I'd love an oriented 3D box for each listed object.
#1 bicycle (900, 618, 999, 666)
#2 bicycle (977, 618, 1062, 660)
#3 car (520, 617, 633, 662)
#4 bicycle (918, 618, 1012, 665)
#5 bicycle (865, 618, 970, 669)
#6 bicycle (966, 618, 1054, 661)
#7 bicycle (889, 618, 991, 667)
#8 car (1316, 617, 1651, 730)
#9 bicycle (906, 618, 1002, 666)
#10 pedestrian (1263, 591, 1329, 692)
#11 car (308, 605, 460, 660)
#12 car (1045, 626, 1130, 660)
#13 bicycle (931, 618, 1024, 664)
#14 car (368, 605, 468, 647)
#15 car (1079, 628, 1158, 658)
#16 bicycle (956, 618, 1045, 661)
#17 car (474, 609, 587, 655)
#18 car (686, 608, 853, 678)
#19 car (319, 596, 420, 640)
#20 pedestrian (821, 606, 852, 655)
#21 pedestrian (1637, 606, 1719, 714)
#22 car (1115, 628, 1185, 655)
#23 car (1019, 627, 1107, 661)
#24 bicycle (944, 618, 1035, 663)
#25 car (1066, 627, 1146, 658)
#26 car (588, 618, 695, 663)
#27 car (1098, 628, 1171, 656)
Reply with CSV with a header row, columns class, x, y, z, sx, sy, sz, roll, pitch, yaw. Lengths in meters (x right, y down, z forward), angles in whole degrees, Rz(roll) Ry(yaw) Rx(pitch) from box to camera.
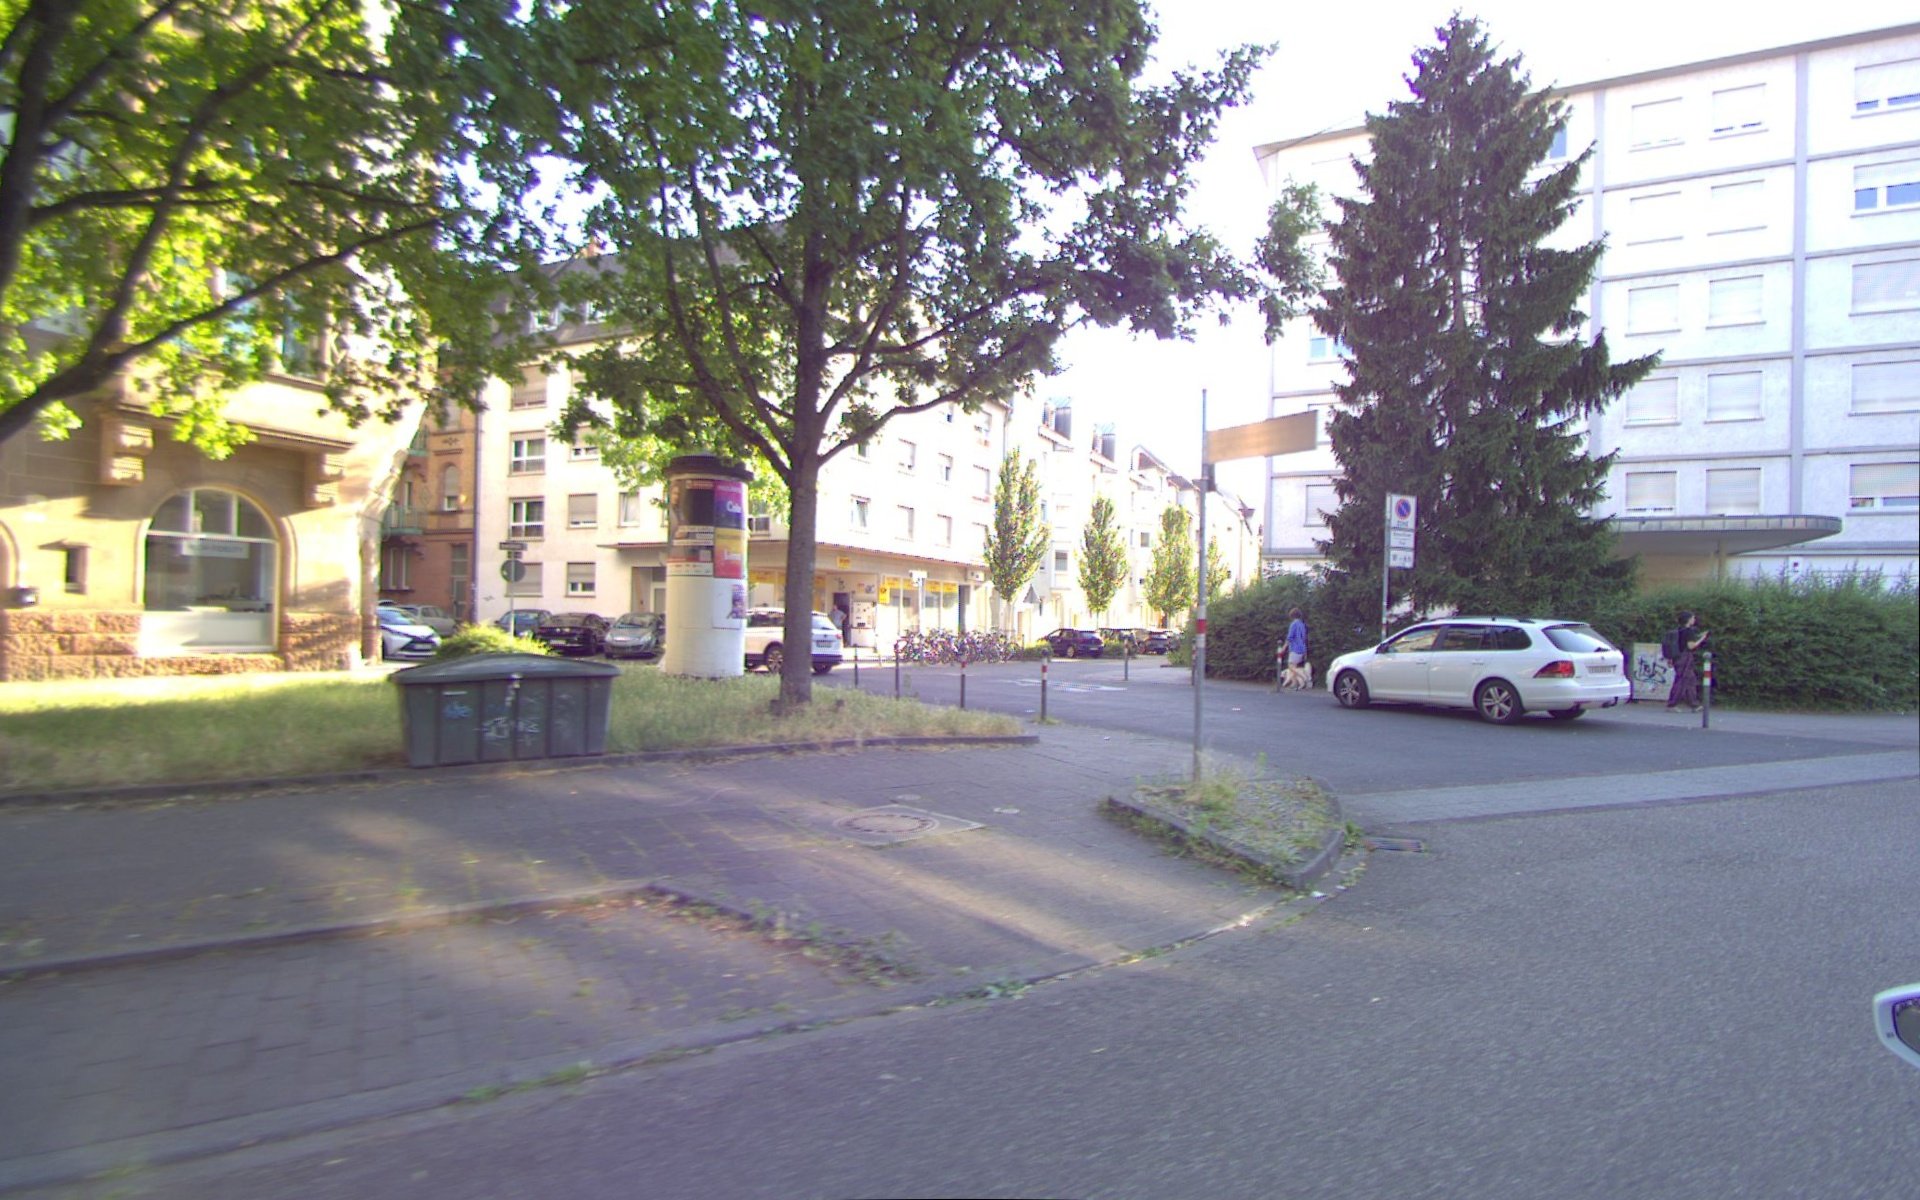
class,x,y,z,sx,sy,sz,roll,pitch,yaw
bicycle,-0.372,1.393,34.016,3.319,1.464,0.880,1,-1,29
bicycle,2.362,1.526,40.121,3.319,1.464,0.880,2,0,29
car,-13.112,1.329,34.631,1.835,1.418,4.003,1,-2,9
bicycle,0.169,1.460,36.011,3.319,1.464,0.880,2,0,29
bicycle,-1.364,1.360,31.793,3.319,1.464,0.880,1,-1,29
bicycle,1.938,1.529,39.249,3.319,1.464,0.880,2,0,29
bicycle,-0.681,1.374,32.949,3.319,1.464,0.880,1,-1,29
car,7.776,0.997,15.392,1.898,1.470,4.267,0,-1,-26
bicycle,-0.224,1.453,35.135,3.319,1.464,0.880,2,0,29
pedestrian,6.987,0.856,20.893,0.853,2.040,0.978,1,-1,-30
car,-16.139,0.888,28.129,3.927,1.418,1.871,0,-2,28
car,6.446,2.159,50.847,3.928,1.579,1.742,0,-2,30
bicycle,0.614,1.479,36.753,3.319,1.464,0.880,2,0,29
car,-21.069,1.018,39.214,1.837,1.525,3.999,1,-1,-2
car,8.766,2.371,55.604,3.928,1.579,1.742,0,-2,30
bicycle,1.539,1.491,38.384,3.319,1.464,0.880,2,0,29
car,-15.609,1.161,36.746,1.835,1.589,4.003,1,-2,12
car,-5.008,1.066,26.083,4.468,1.669,1.933,0,-2,42
car,-23.783,0.734,40.626,1.837,1.657,3.999,1,-1,-2
pedestrian,-4.840,1.205,39.513,0.836,1.899,0.890,0,-1,26
pedestrian,12.159,0.996,17.018,0.861,1.759,0.824,2,0,-30
car,11.849,2.550,62.575,3.928,1.579,1.742,0,-2,30
car,5.071,2.144,49.365,3.928,1.579,1.742,0,-2,30
bicycle,1.077,1.489,37.551,3.319,1.464,0.880,2,0,29
car,7.822,2.266,53.905,3.928,1.579,1.742,0,-2,30
car,-10.729,1.353,34.163,1.835,1.418,4.003,1,-2,9
car,10.367,2.462,59.807,3.928,1.579,1.742,0,-2,30
